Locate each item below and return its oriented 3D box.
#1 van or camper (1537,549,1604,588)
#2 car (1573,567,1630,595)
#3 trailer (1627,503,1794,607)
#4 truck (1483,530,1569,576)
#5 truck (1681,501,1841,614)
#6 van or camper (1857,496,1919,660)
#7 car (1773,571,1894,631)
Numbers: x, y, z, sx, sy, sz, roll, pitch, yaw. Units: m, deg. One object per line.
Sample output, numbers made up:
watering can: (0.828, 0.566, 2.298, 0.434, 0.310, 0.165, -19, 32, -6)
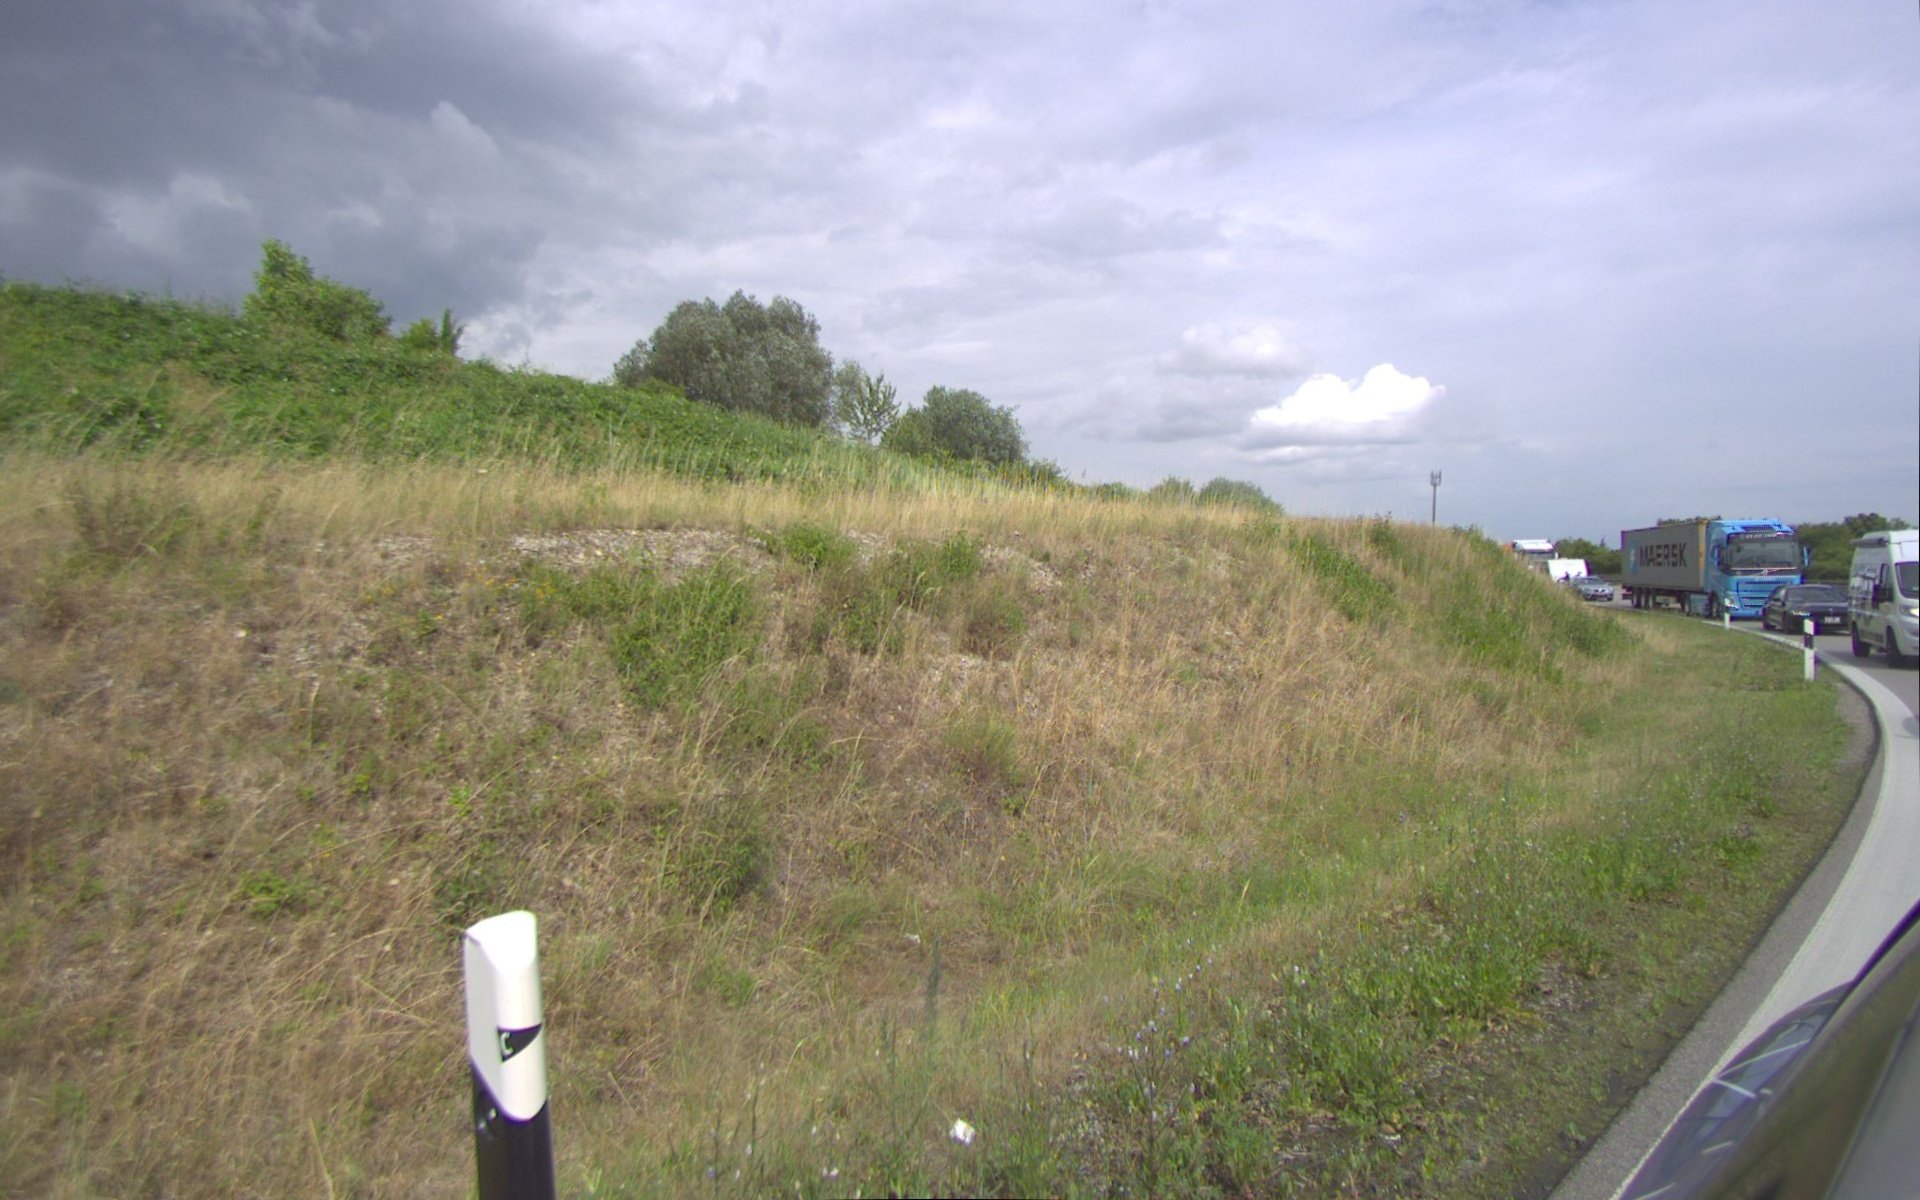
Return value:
van or camper: (40.320, -2.128, 67.007, 2.519, 2.237, 5.684, -1, 4, 17)
car: (38.563, -1.157, 60.938, 1.974, 1.548, 3.977, 0, 2, 19)
trailer: (34.346, -1.887, 46.996, 3.237, 4.214, 11.929, 0, 0, 22)
truck: (44.047, -3.570, 79.210, 3.080, 3.279, 11.113, 0, 2, 14)
truck: (31.903, -1.579, 40.669, 3.142, 4.124, 6.600, 0, 0, 21)
van or camper: (19.675, -0.429, 19.966, 2.385, 2.945, 5.646, 0, 0, 36)
car: (26.384, -0.033, 30.733, 1.983, 1.638, 3.960, 1, 2, 29)
